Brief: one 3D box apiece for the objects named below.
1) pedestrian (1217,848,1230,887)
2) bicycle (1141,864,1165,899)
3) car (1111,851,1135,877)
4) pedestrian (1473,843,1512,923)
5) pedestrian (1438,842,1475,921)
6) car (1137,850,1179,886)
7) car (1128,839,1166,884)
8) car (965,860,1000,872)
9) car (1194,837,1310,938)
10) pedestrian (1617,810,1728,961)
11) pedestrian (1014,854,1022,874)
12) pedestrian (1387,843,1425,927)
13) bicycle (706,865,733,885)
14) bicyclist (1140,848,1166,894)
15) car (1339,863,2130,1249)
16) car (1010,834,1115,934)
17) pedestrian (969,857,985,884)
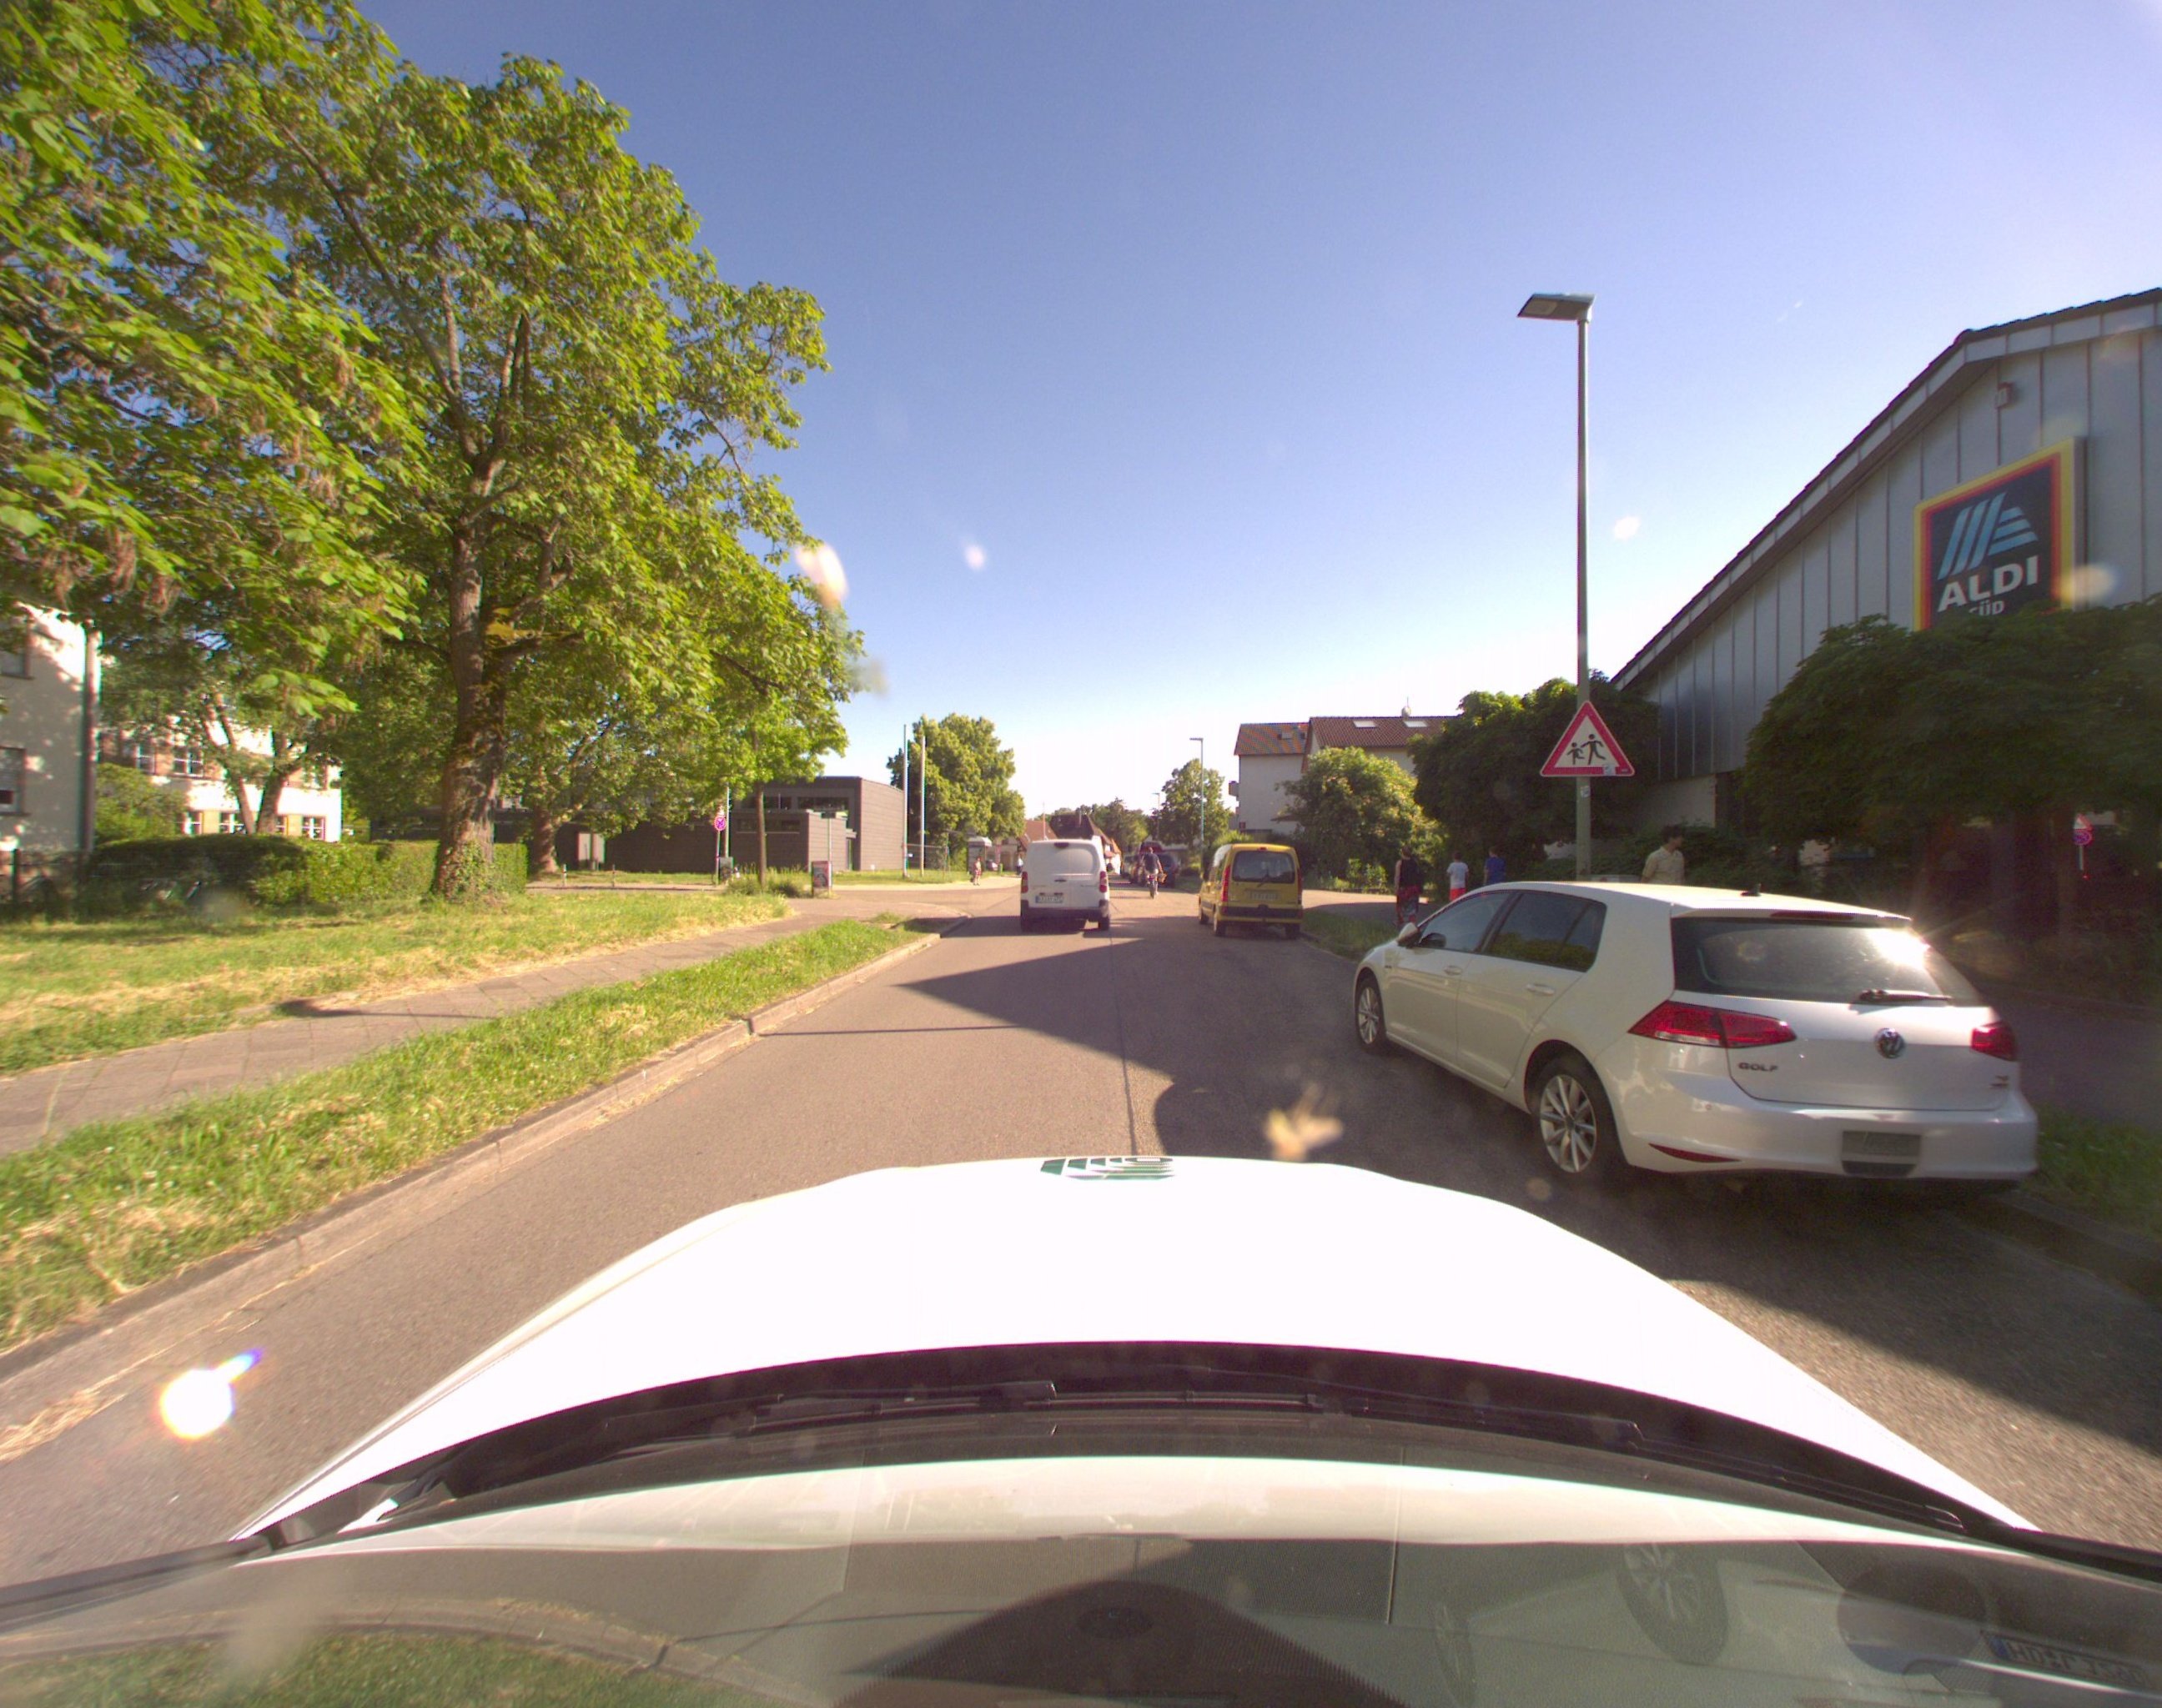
[{"bbox_3d":[6.926,0.658,39.590,0.482,1.831,0.486,-3,0,-1],"label":"pedestrian"},{"bbox_3d":[2.532,0.952,28.932,0.783,1.138,2.282,1,0,3],"label":"bicycle"},{"bbox_3d":[3.587,0.896,69.858,1.798,2.069,3.999,2,-1,0],"label":"car"},{"bbox_3d":[8.585,0.590,17.007,0.564,1.637,0.547,0,0,6],"label":"pedestrian"},{"bbox_3d":[7.886,0.566,17.115,0.564,1.637,0.547,0,0,6],"label":"pedestrian"},{"bbox_3d":[4.050,0.749,43.533,1.798,1.785,3.999,2,-1,0],"label":"car"},{"bbox_3d":[4.045,0.489,50.616,1.860,2.562,4.766,2,-1,0],"label":"car"},{"bbox_3d":[-12.033,1.422,99.624,3.945,1.429,1.724,1,0,19],"label":"car"},{"bbox_3d":[3.424,0.633,16.975,1.717,1.837,4.002,1,0,2],"label":"car"},{"bbox_3d":[7.639,0.397,10.553,0.793,1.861,0.872,1,0,-6],"label":"pedestrian"},{"bbox_3d":[-5.648,0.917,72.729,0.619,1.805,0.640,0,-2,0],"label":"pedestrian"},{"bbox_3d":[6.416,0.601,16.090,0.564,1.637,0.547,0,0,6],"label":"pedestrian"},{"bbox_3d":[-16.477,0.960,37.112,1.025,0.887,0.434,-1,1,-43],"label":"bicycle"},{"bbox_3d":[2.555,0.590,28.945,0.901,1.584,0.967,1,-1,4],"label":"bicyclist"},{"bbox_3d":[3.175,0.807,5.155,1.820,1.452,3.999,1,0,0],"label":"car"},{"bbox_3d":[-0.282,0.565,17.683,1.986,1.882,4.290,1,0,2],"label":"car"},{"bbox_3d":[-5.593,0.896,43.820,0.505,1.446,0.643,3,0,34],"label":"pedestrian"}]
